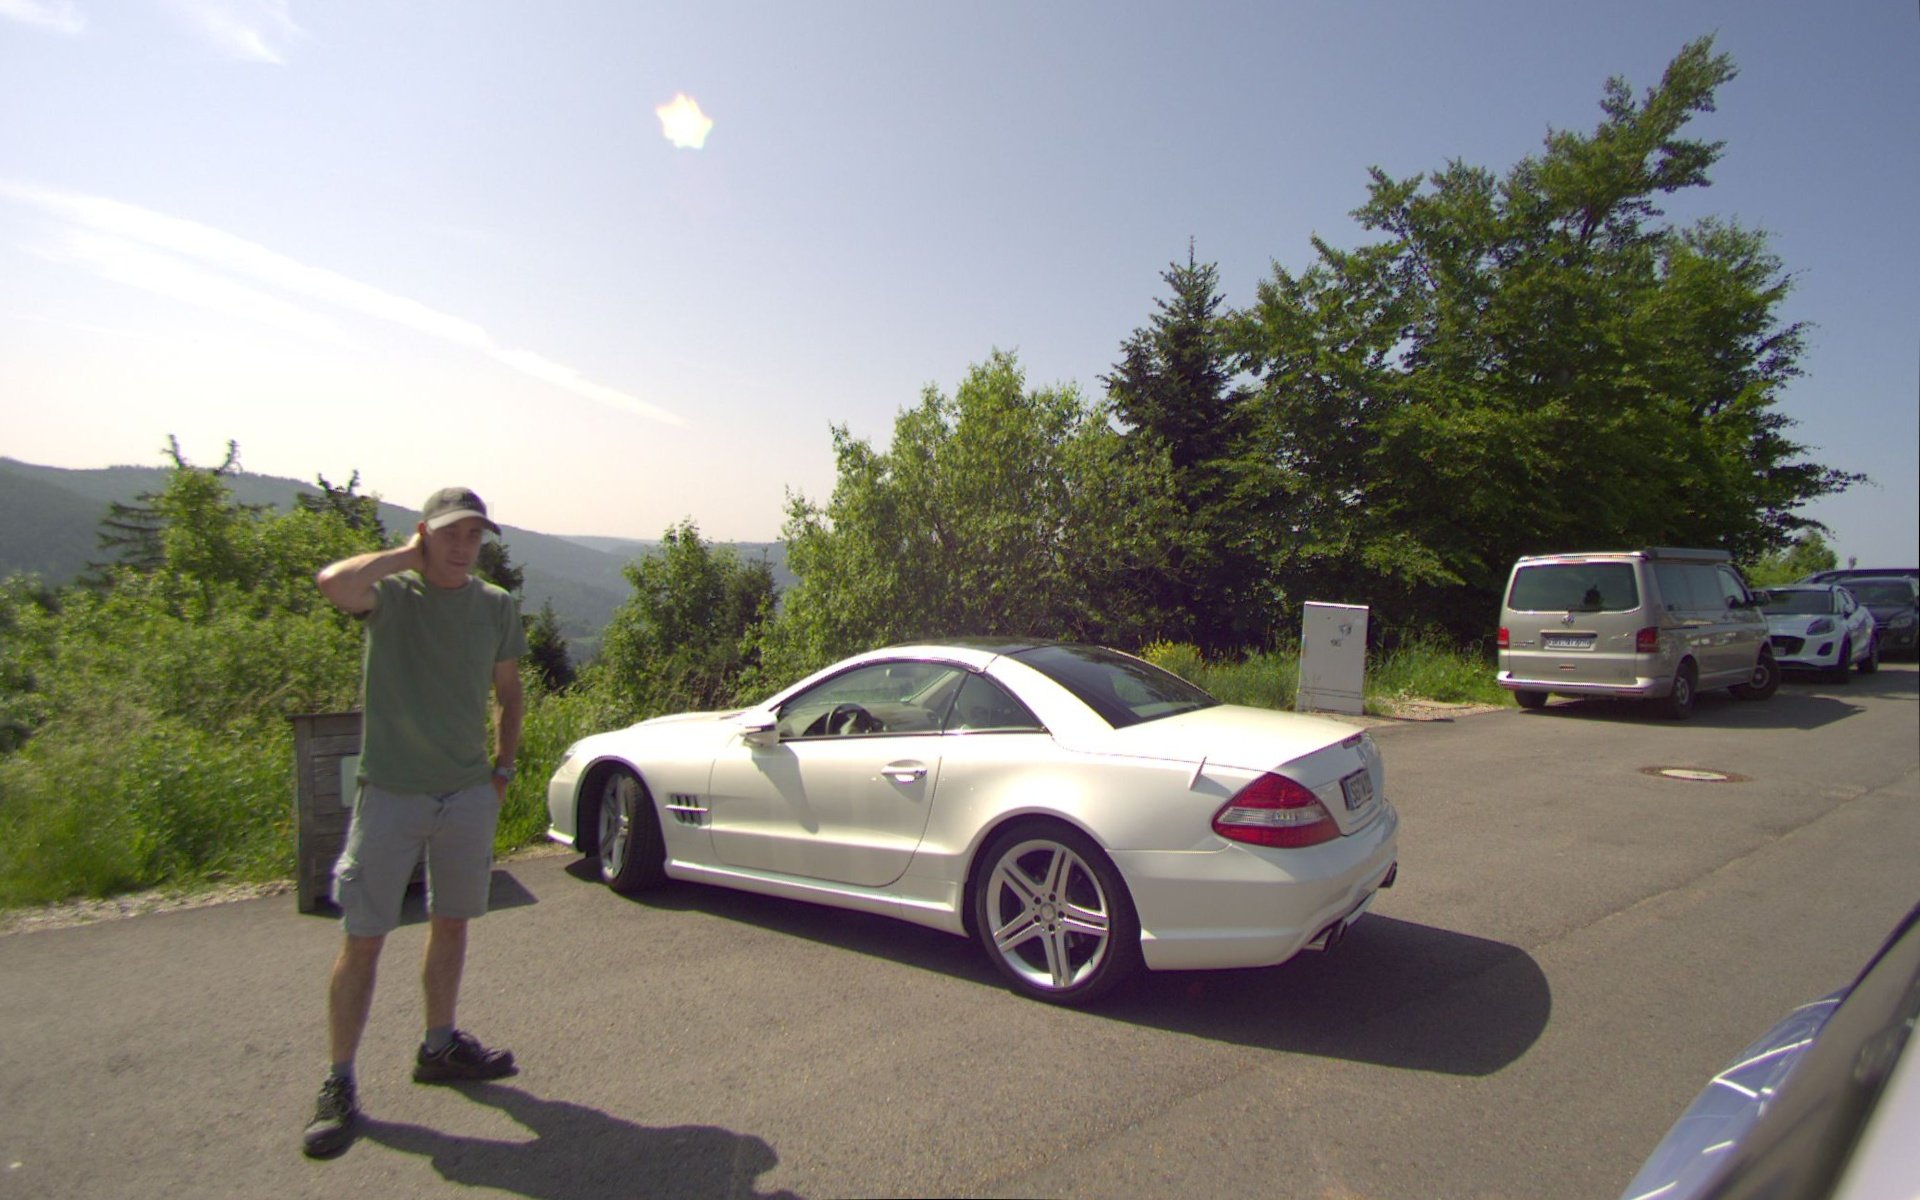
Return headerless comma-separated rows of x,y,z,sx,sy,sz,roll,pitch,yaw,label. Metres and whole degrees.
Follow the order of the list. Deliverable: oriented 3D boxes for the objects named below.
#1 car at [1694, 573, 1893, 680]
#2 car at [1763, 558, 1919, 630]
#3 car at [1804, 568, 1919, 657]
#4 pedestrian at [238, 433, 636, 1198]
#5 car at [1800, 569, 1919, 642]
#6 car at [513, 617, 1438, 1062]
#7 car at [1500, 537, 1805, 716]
13.932,0.373,16.843,3.929,1.567,1.874,-1,0,-40,car
25.523,-0.166,28.413,4.425,1.949,1.855,0,0,32,car
18.806,0.209,20.561,3.929,1.639,1.874,-1,0,-40,car
-1.483,0.506,2.918,0.730,1.822,0.740,0,1,32,pedestrian
22.188,0.111,23.413,3.969,1.639,1.855,0,0,32,car
-0.162,0.754,5.021,4.381,1.312,1.734,-1,-1,34,car
9.084,0.279,13.154,4.523,1.960,1.862,0,0,-36,car
